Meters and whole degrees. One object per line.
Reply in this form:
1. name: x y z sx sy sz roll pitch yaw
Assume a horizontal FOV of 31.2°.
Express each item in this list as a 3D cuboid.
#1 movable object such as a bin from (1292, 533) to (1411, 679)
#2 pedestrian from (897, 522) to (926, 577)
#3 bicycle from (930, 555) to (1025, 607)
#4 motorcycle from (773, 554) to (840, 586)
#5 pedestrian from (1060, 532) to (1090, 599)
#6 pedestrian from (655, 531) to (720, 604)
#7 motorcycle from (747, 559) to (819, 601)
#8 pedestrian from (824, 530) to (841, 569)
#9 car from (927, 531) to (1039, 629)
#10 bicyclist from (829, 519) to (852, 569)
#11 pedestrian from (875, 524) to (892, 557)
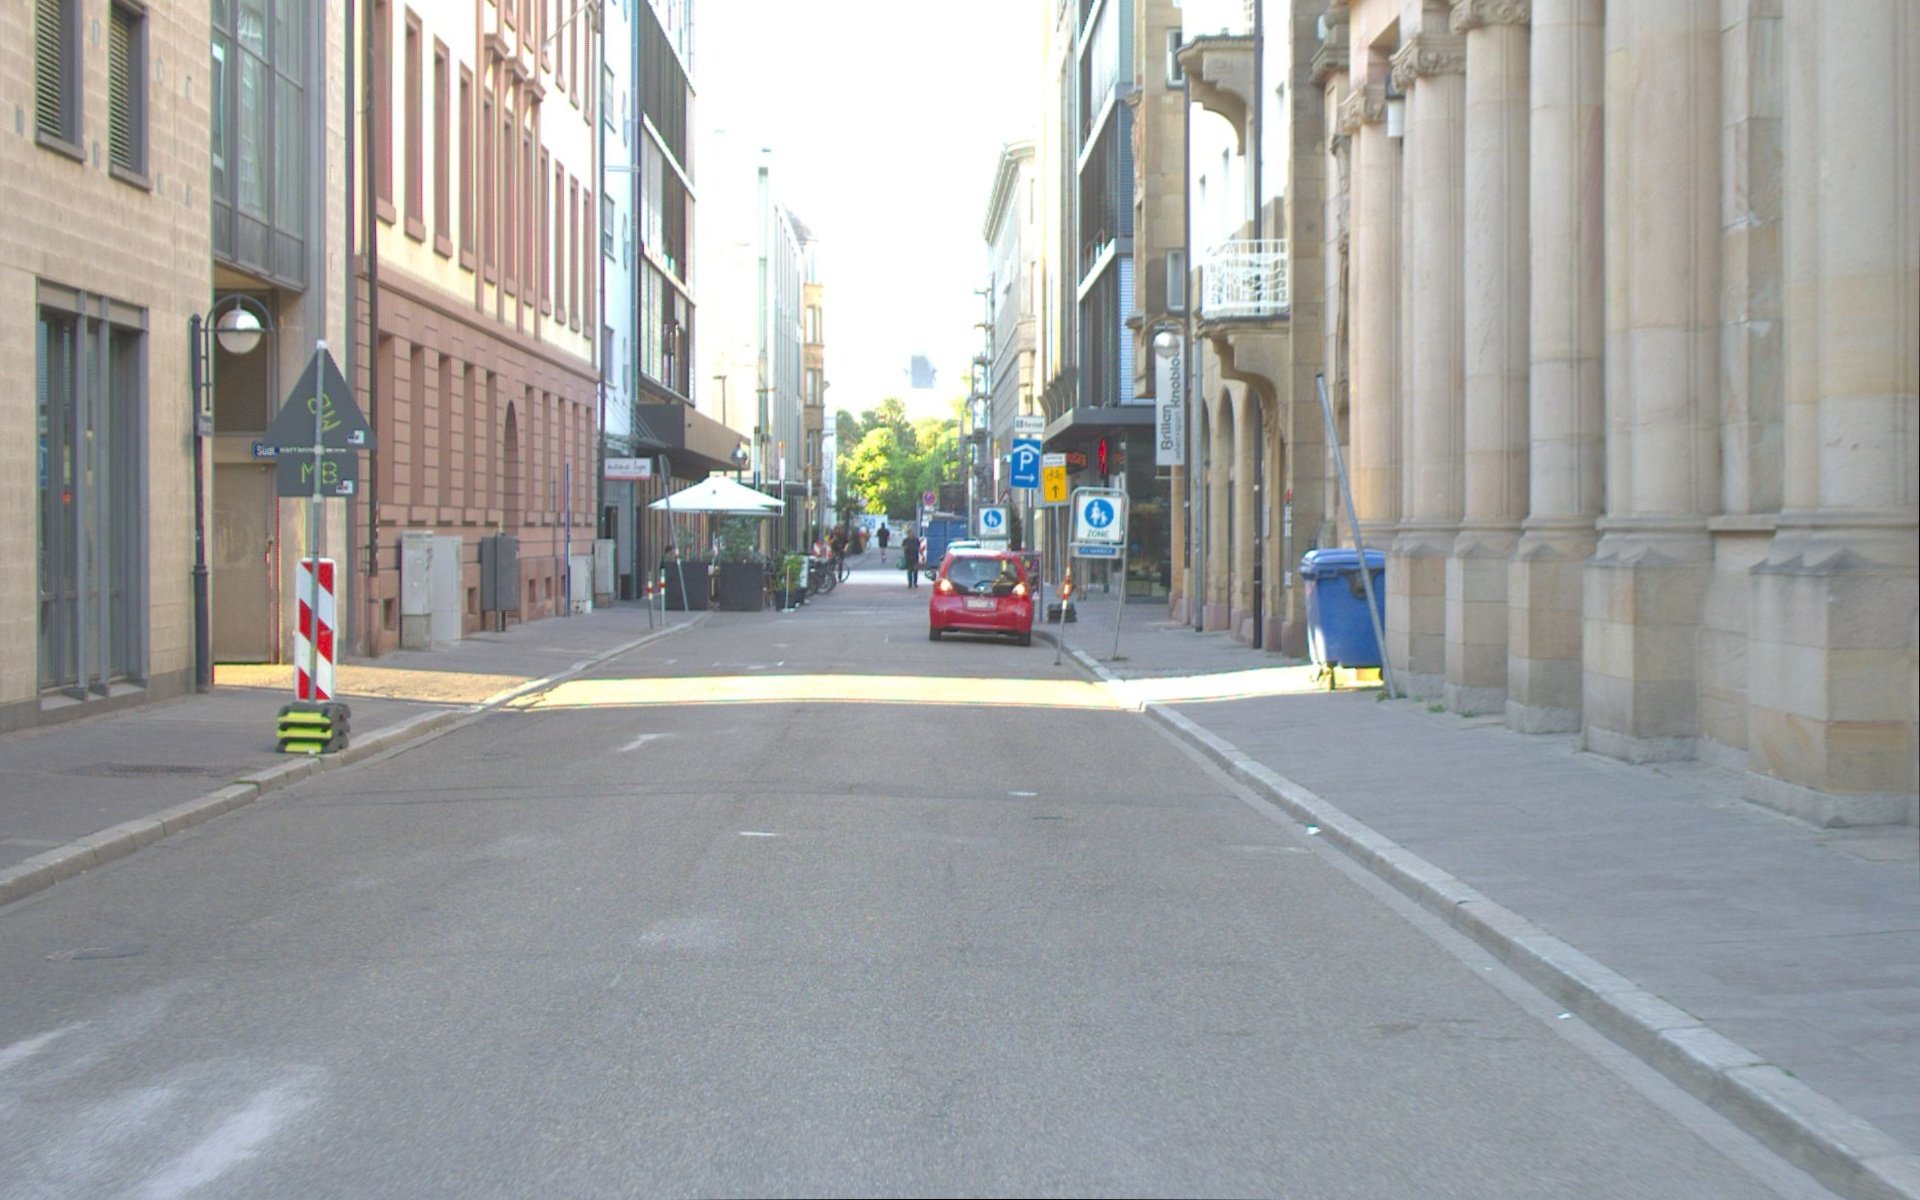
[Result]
1. movable object such as a bin: 3.818 0.045 33.646 0.990 1.387 1.241 0 1 -1
2. pedestrian: -1.511 -1.560 106.529 0.865 1.707 0.852 1 1 -1
3. bicycle: 0.380 -0.428 76.392 2.052 1.130 0.649 0 1 -4
4. motorcycle: -4.214 -0.820 94.397 1.801 0.872 0.560 0 1 -5
5. pedestrian: 2.578 -0.769 77.054 0.656 1.482 0.493 1 1 1
6. pedestrian: -5.585 -0.672 70.397 1.290 1.482 0.661 0 1 -3
7. motorcycle: -4.453 -0.498 86.505 1.801 1.037 0.494 0 1 -4
8. pedestrian: -5.391 -2.145 145.350 0.678 1.617 0.625 1 1 1
9. car: 0.352 -0.336 54.538 1.649 1.422 3.535 3 1 0
10. bicyclist: -3.880 -1.820 111.583 0.636 1.635 0.772 -1 1 -9
11. pedestrian: -3.904 -3.029 175.281 0.804 1.667 0.888 0 1 1
